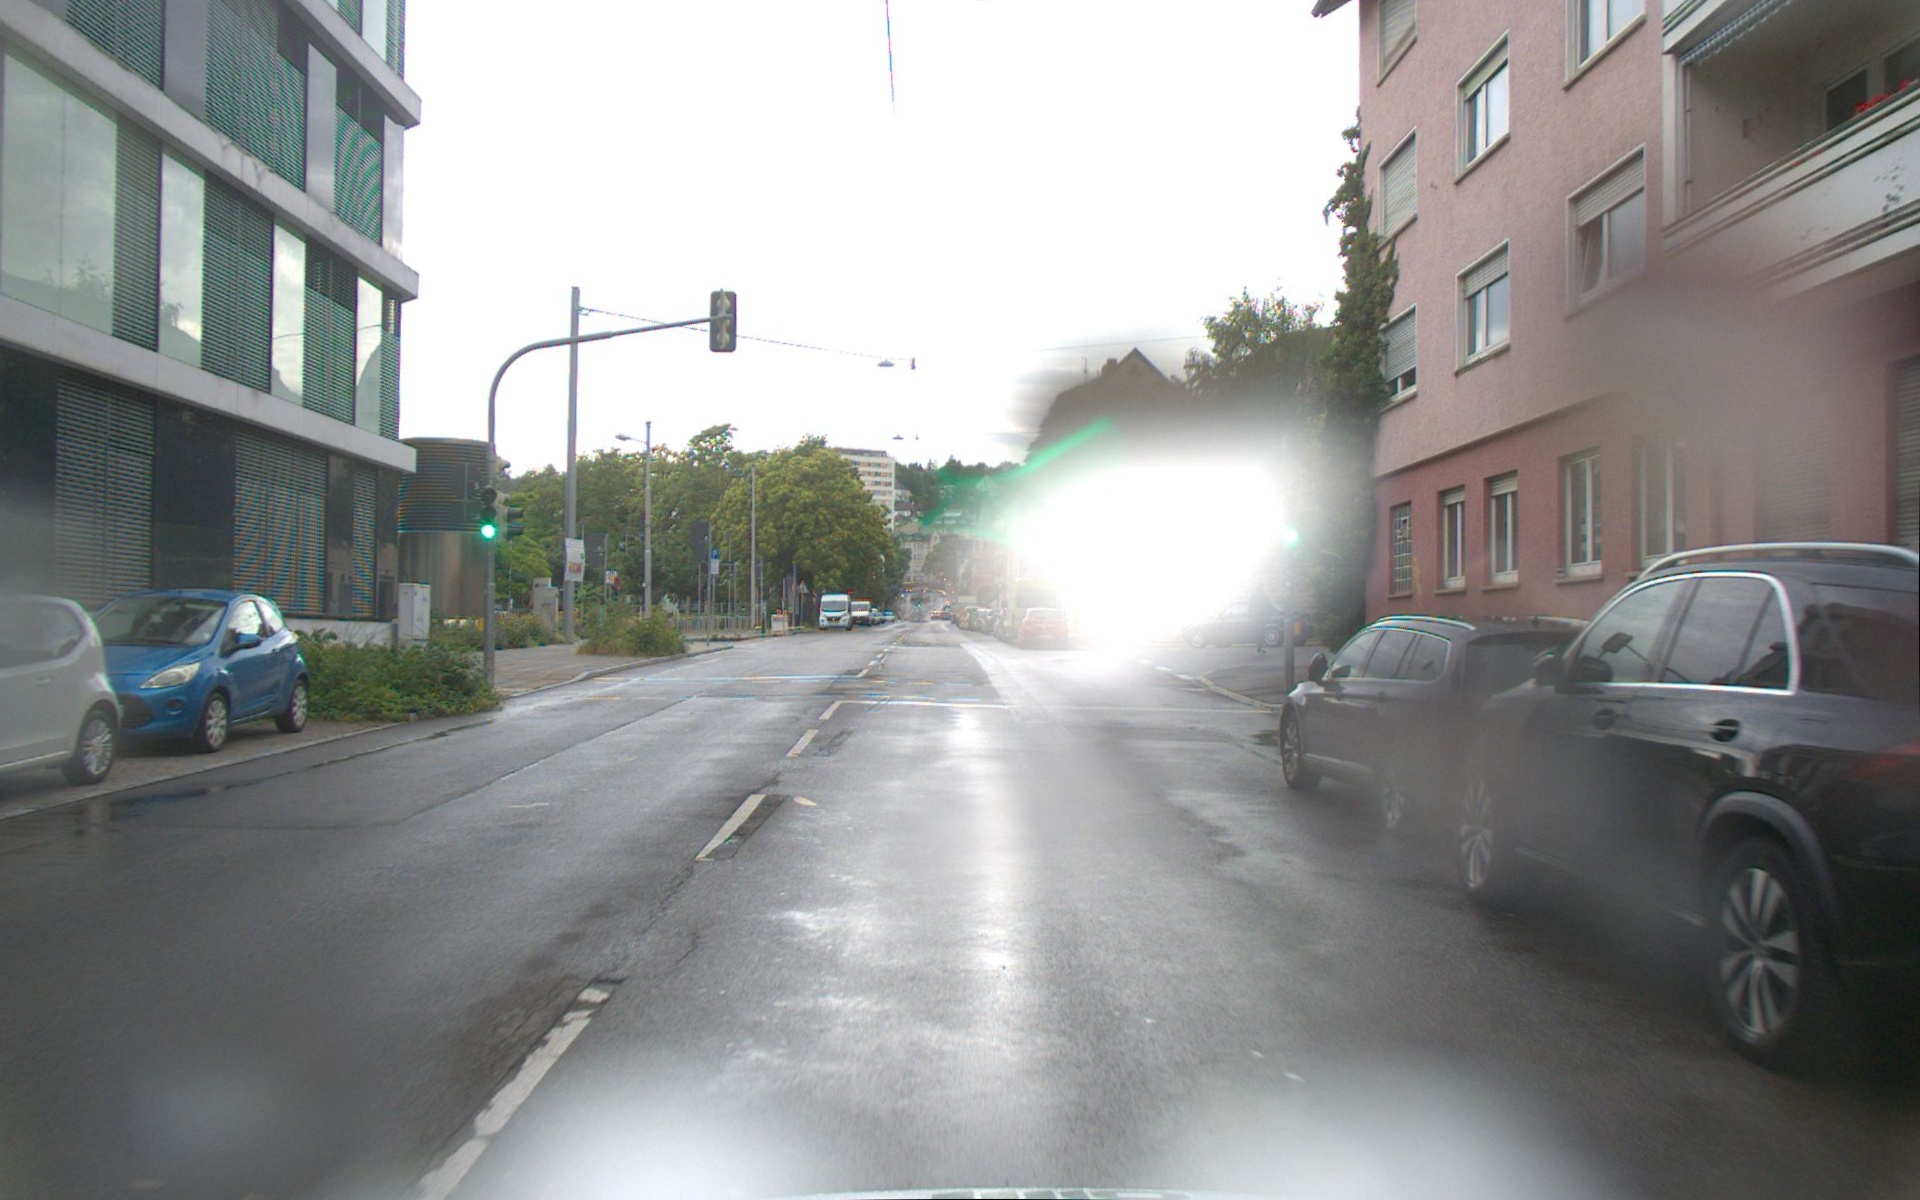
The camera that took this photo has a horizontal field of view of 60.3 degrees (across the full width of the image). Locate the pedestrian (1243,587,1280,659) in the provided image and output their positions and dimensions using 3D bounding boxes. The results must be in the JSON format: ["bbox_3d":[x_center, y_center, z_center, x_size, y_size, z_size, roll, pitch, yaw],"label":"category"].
[{"bbox_3d":[7.385,0.556,40.556,0.708,1.745,0.905,-1,0,0],"label":"pedestrian"}]

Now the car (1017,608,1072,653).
[{"bbox_3d":[2.951,1.046,58.335,1.686,1.446,4.202,2,0,0],"label":"car"}]

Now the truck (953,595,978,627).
[{"bbox_3d":[0.554,1.182,173.433,2.419,3.228,7.034,1,-1,-1],"label":"truck"}]

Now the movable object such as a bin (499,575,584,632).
[{"bbox_3d":[-19.103,0.164,75.337,1.656,2.502,5.211,1,-1,-40],"label":"movable object such as a bin"}]

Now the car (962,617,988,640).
[{"bbox_3d":[1.051,1.996,117.616,1.681,1.551,3.998,2,0,-2],"label":"car"}]

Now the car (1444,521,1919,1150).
[{"bbox_3d":[3.684,0.687,6.911,1.923,1.805,4.511,1,0,-1],"label":"car"}]

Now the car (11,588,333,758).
[{"bbox_3d":[-7.685,0.661,16.504,1.604,1.492,3.582,1,0,-3],"label":"car"}]

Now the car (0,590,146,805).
[{"bbox_3d":[-7.445,0.667,11.674,1.604,1.492,3.583,1,0,0],"label":"car"}]

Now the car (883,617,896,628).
[{"bbox_3d":[-9.535,3.061,224.644,1.675,1.476,4.292,0,-1,-2],"label":"car"}]

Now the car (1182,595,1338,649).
[{"bbox_3d":[8.777,0.665,48.525,4.200,1.417,1.742,-3,-3,41],"label":"car"}]

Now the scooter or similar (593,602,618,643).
[{"bbox_3d":[-11.286,0.726,52.690,0.486,1.270,1.231,2,-2,0],"label":"scooter or similar"}]

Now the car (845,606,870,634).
[{"bbox_3d":[-9.443,1.863,153.118,1.971,2.531,5.982,0,-1,0],"label":"car"}]

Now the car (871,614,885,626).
[{"bbox_3d":[-10.380,2.583,209.559,1.767,1.476,4.654,0,-1,-3],"label":"car"}]

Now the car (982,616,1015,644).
[{"bbox_3d":[2.157,1.652,93.322,1.596,1.479,3.758,2,0,-2],"label":"car"}]

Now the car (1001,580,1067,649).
[{"bbox_3d":[2.858,0.558,65.083,2.160,2.506,6.078,2,0,-1],"label":"car"}]

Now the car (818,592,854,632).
[{"bbox_3d":[-8.537,0.839,114.332,2.185,2.624,6.534,-1,-1,-2],"label":"car"}]

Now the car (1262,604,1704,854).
[{"bbox_3d":[3.727,0.824,12.706,1.756,1.546,4.509,1,0,-3],"label":"car"}]

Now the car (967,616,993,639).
[{"bbox_3d":[1.341,1.837,112.496,1.527,1.479,3.758,2,0,-2],"label":"car"}]

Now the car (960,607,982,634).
[{"bbox_3d":[0.963,1.832,146.373,1.681,2.277,3.998,2,0,-2],"label":"car"}]
